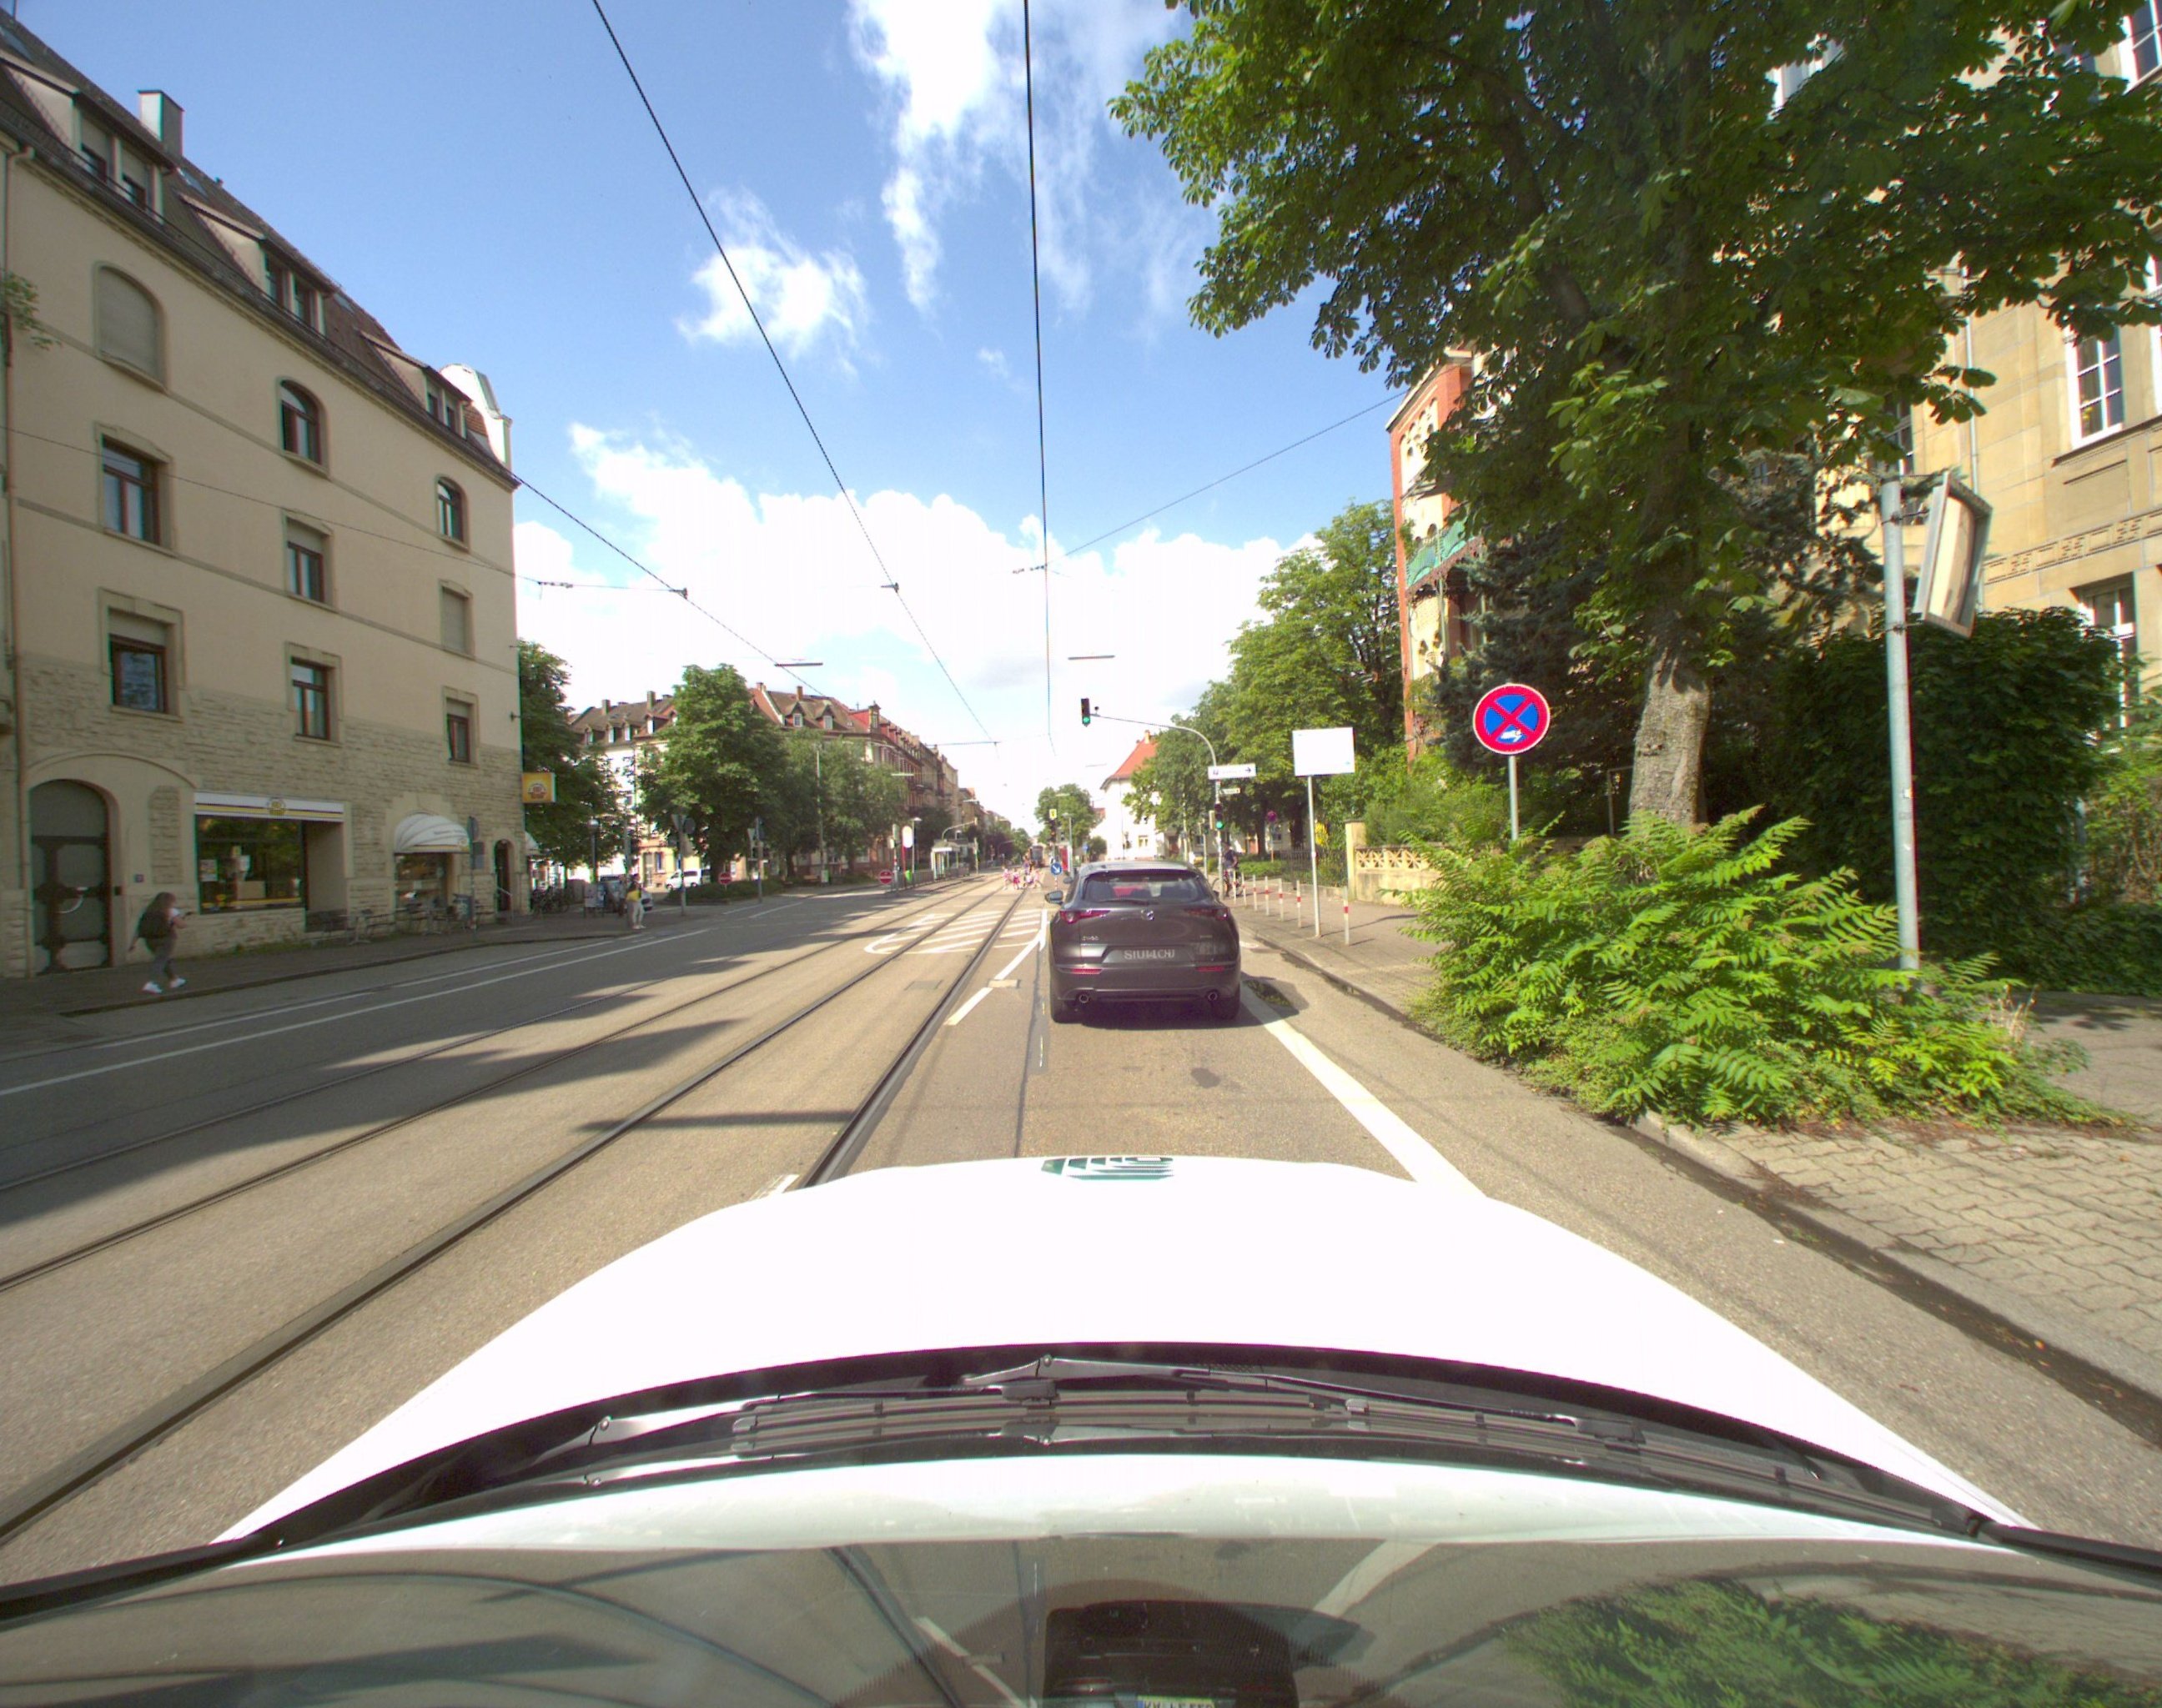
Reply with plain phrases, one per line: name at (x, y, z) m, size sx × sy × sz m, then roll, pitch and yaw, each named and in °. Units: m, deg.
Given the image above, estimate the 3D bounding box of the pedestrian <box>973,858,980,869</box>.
pedestrian at (-16.325, 1.453, 127.227) m, size 0.785 × 1.688 × 0.732 m, roll -3°, pitch 0°, yaw -1°

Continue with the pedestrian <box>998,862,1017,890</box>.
pedestrian at (-3.632, 1.070, 40.389) m, size 0.825 × 1.303 × 0.716 m, roll -5°, pitch 0°, yaw -7°

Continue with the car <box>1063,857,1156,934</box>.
car at (0.583, 0.815, 17.742) m, size 1.769 × 1.464 × 3.843 m, roll -1°, pitch 0°, yaw 1°

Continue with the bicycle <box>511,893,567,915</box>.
bicycle at (-24.416, 2.241, 36.699) m, size 0.516 × 0.882 × 2.043 m, roll -3°, pitch -2°, yaw 44°

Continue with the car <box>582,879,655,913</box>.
car at (-21.306, 1.920, 37.454) m, size 3.823 × 1.420 × 1.732 m, roll -3°, pitch 0°, yaw 41°

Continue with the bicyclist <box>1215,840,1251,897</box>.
bicyclist at (4.954, 0.473, 26.594) m, size 0.736 × 1.819 × 0.814 m, roll -2°, pitch 0°, yaw -25°

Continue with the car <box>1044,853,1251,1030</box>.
car at (0.647, 0.773, 9.026) m, size 1.775 × 1.514 × 4.002 m, roll 0°, pitch -1°, yaw 2°

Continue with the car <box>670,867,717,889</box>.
car at (-37.208, 2.292, 78.253) m, size 3.901 × 1.988 × 1.866 m, roll -2°, pitch 0°, yaw 21°

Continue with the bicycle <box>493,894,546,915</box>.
bicycle at (-27.178, 2.441, 39.430) m, size 0.505 × 0.882 × 2.043 m, roll -3°, pitch -2°, yaw 44°

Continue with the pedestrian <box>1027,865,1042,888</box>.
pedestrian at (-2.290, 1.096, 40.002) m, size 0.640 × 1.114 × 0.443 m, roll -3°, pitch -1°, yaw -7°

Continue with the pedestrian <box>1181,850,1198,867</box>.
pedestrian at (8.718, 0.388, 65.338) m, size 1.191 × 1.269 × 0.556 m, roll -5°, pitch 0°, yaw -7°

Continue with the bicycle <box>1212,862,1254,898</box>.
bicycle at (4.994, 0.843, 26.709) m, size 0.385 × 1.035 × 1.857 m, roll -3°, pitch 0°, yaw 42°

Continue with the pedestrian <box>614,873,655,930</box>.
pedestrian at (-13.863, 1.469, 25.286) m, size 0.754 × 1.704 × 0.873 m, roll 2°, pitch -1°, yaw -3°

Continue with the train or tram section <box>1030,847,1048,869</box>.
train or tram section at (-8.176, 0.860, 159.752) m, size 2.990 × 3.983 × 13.797 m, roll -3°, pitch -1°, yaw -2°

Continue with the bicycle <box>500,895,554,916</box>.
bicycle at (-26.205, 2.419, 38.515) m, size 0.505 × 0.882 × 2.043 m, roll -3°, pitch -2°, yaw 44°

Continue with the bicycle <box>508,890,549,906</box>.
bicycle at (-34.055, 2.729, 50.240) m, size 2.037 × 0.898 × 0.566 m, roll -1°, pitch -2°, yaw -30°

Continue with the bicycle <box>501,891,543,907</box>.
bicycle at (-33.853, 2.725, 49.355) m, size 2.037 × 0.898 × 0.566 m, roll -1°, pitch -2°, yaw -30°

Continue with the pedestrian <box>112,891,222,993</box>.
pedestrian at (-14.749, 1.395, 13.170) m, size 0.694 × 1.541 × 0.960 m, roll 2°, pitch -1°, yaw -11°

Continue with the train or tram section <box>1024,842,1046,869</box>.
train or tram section at (-7.436, 0.349, 132.172) m, size 2.990 × 3.983 × 13.797 m, roll -3°, pitch -1°, yaw -2°

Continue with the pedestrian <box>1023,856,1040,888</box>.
pedestrian at (-2.486, 0.896, 40.601) m, size 0.727 × 1.565 × 0.797 m, roll -3°, pitch -1°, yaw -7°

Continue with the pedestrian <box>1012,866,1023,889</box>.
pedestrian at (-3.180, 1.183, 40.913) m, size 0.437 × 1.108 × 0.422 m, roll -5°, pitch 0°, yaw -7°

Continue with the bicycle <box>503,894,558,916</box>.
bicycle at (-25.404, 2.355, 37.590) m, size 0.505 × 0.882 × 2.043 m, roll -3°, pitch -2°, yaw 44°

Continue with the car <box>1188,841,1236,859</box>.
car at (12.593, -0.355, 78.560) m, size 4.118 × 1.509 × 1.864 m, roll -3°, pitch 1°, yaw 40°

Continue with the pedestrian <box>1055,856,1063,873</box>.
pedestrian at (-2.115, 0.969, 76.688) m, size 0.666 × 1.546 × 0.580 m, roll -2°, pitch 0°, yaw -3°

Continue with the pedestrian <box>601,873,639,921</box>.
pedestrian at (-16.869, 1.550, 29.822) m, size 0.852 × 1.672 × 0.821 m, roll -3°, pitch 0°, yaw -2°

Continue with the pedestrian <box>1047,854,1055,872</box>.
pedestrian at (-2.938, 0.902, 79.552) m, size 0.769 × 1.674 × 0.667 m, roll -3°, pitch 0°, yaw -3°
